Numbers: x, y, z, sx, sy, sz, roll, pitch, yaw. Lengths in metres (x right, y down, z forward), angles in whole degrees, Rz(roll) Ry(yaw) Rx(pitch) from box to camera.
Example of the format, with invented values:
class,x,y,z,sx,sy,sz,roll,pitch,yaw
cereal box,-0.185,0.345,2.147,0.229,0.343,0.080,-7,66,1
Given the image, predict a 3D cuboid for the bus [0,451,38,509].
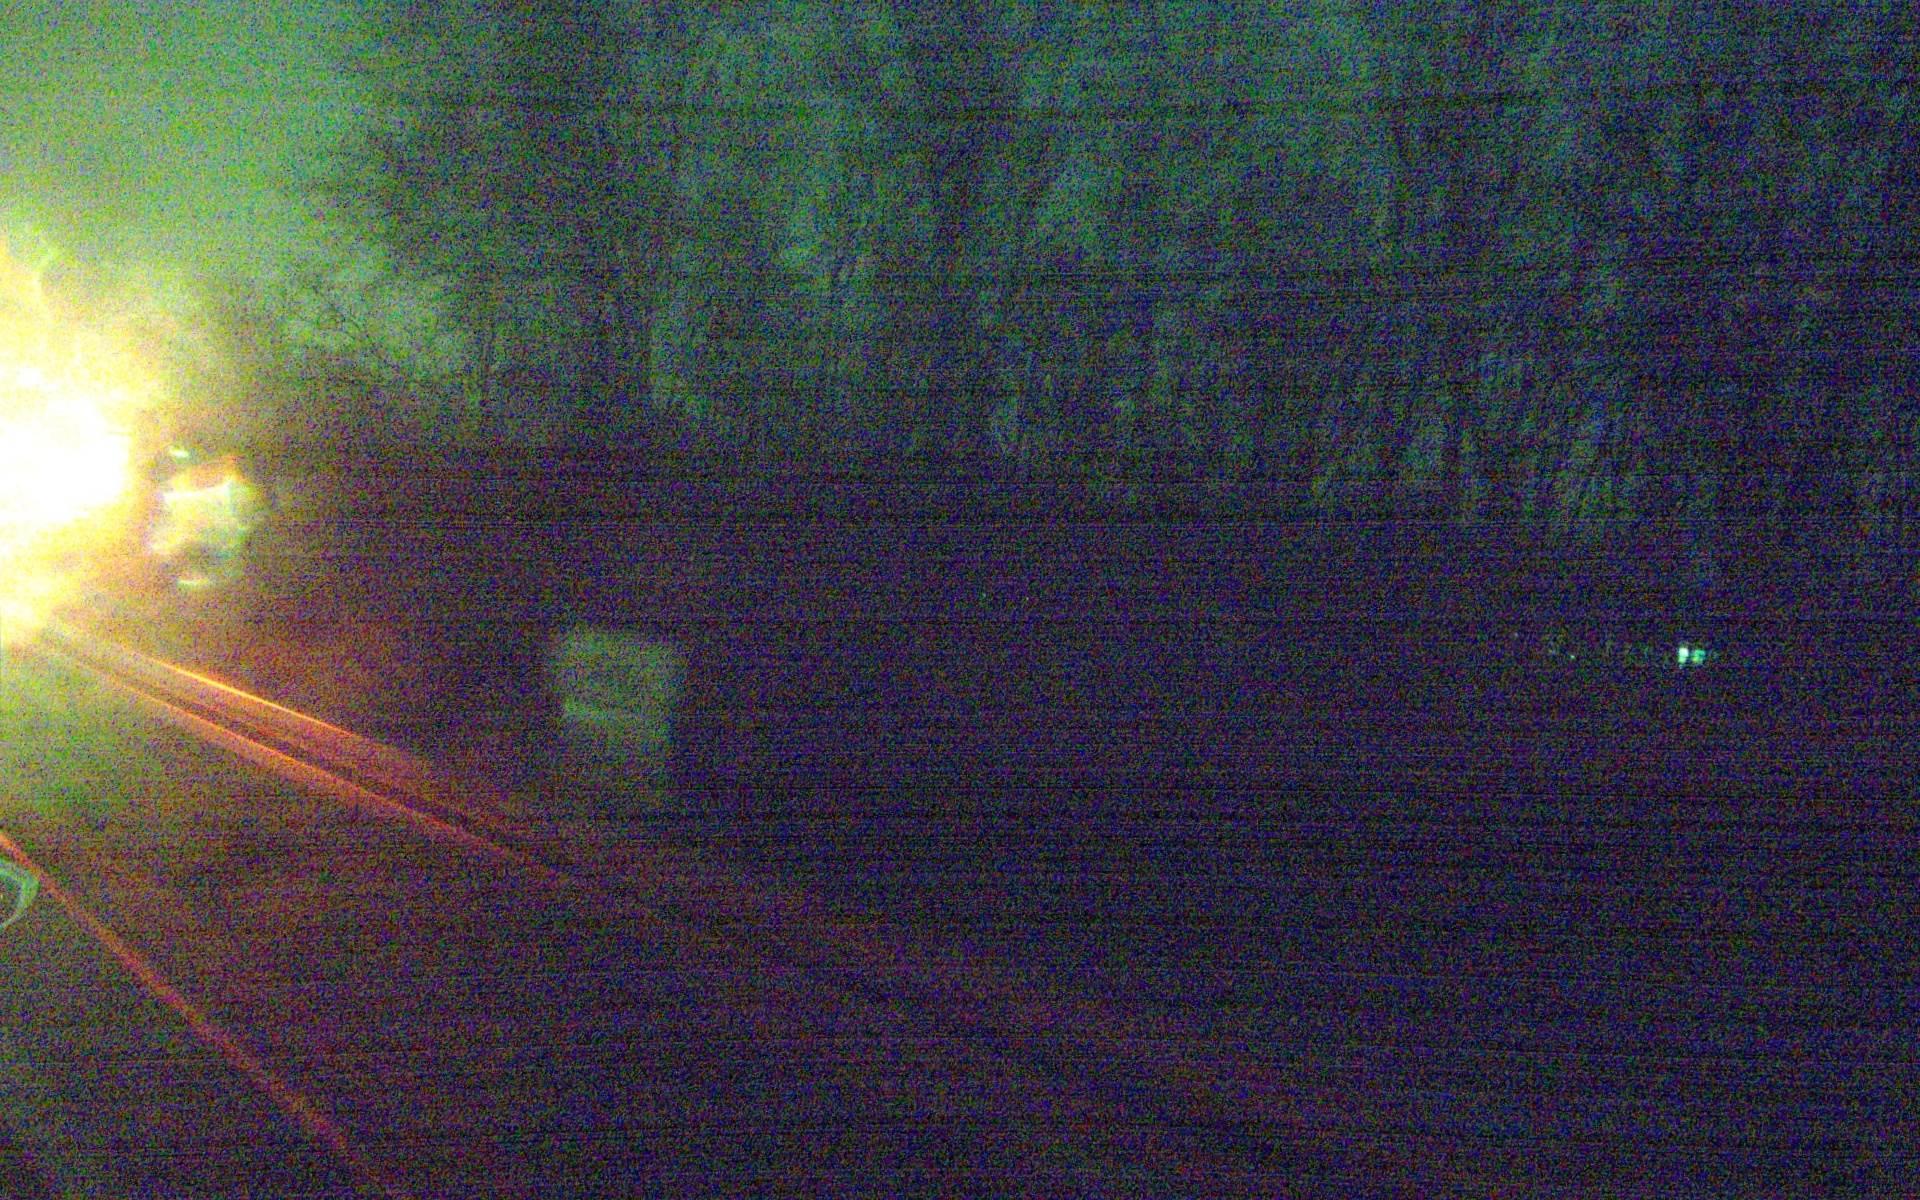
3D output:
class,x,y,z,sx,sy,sz,roll,pitch,yaw
bus,-57.285,-7.223,59.444,2.729,3.161,9.110,8,0,-36
